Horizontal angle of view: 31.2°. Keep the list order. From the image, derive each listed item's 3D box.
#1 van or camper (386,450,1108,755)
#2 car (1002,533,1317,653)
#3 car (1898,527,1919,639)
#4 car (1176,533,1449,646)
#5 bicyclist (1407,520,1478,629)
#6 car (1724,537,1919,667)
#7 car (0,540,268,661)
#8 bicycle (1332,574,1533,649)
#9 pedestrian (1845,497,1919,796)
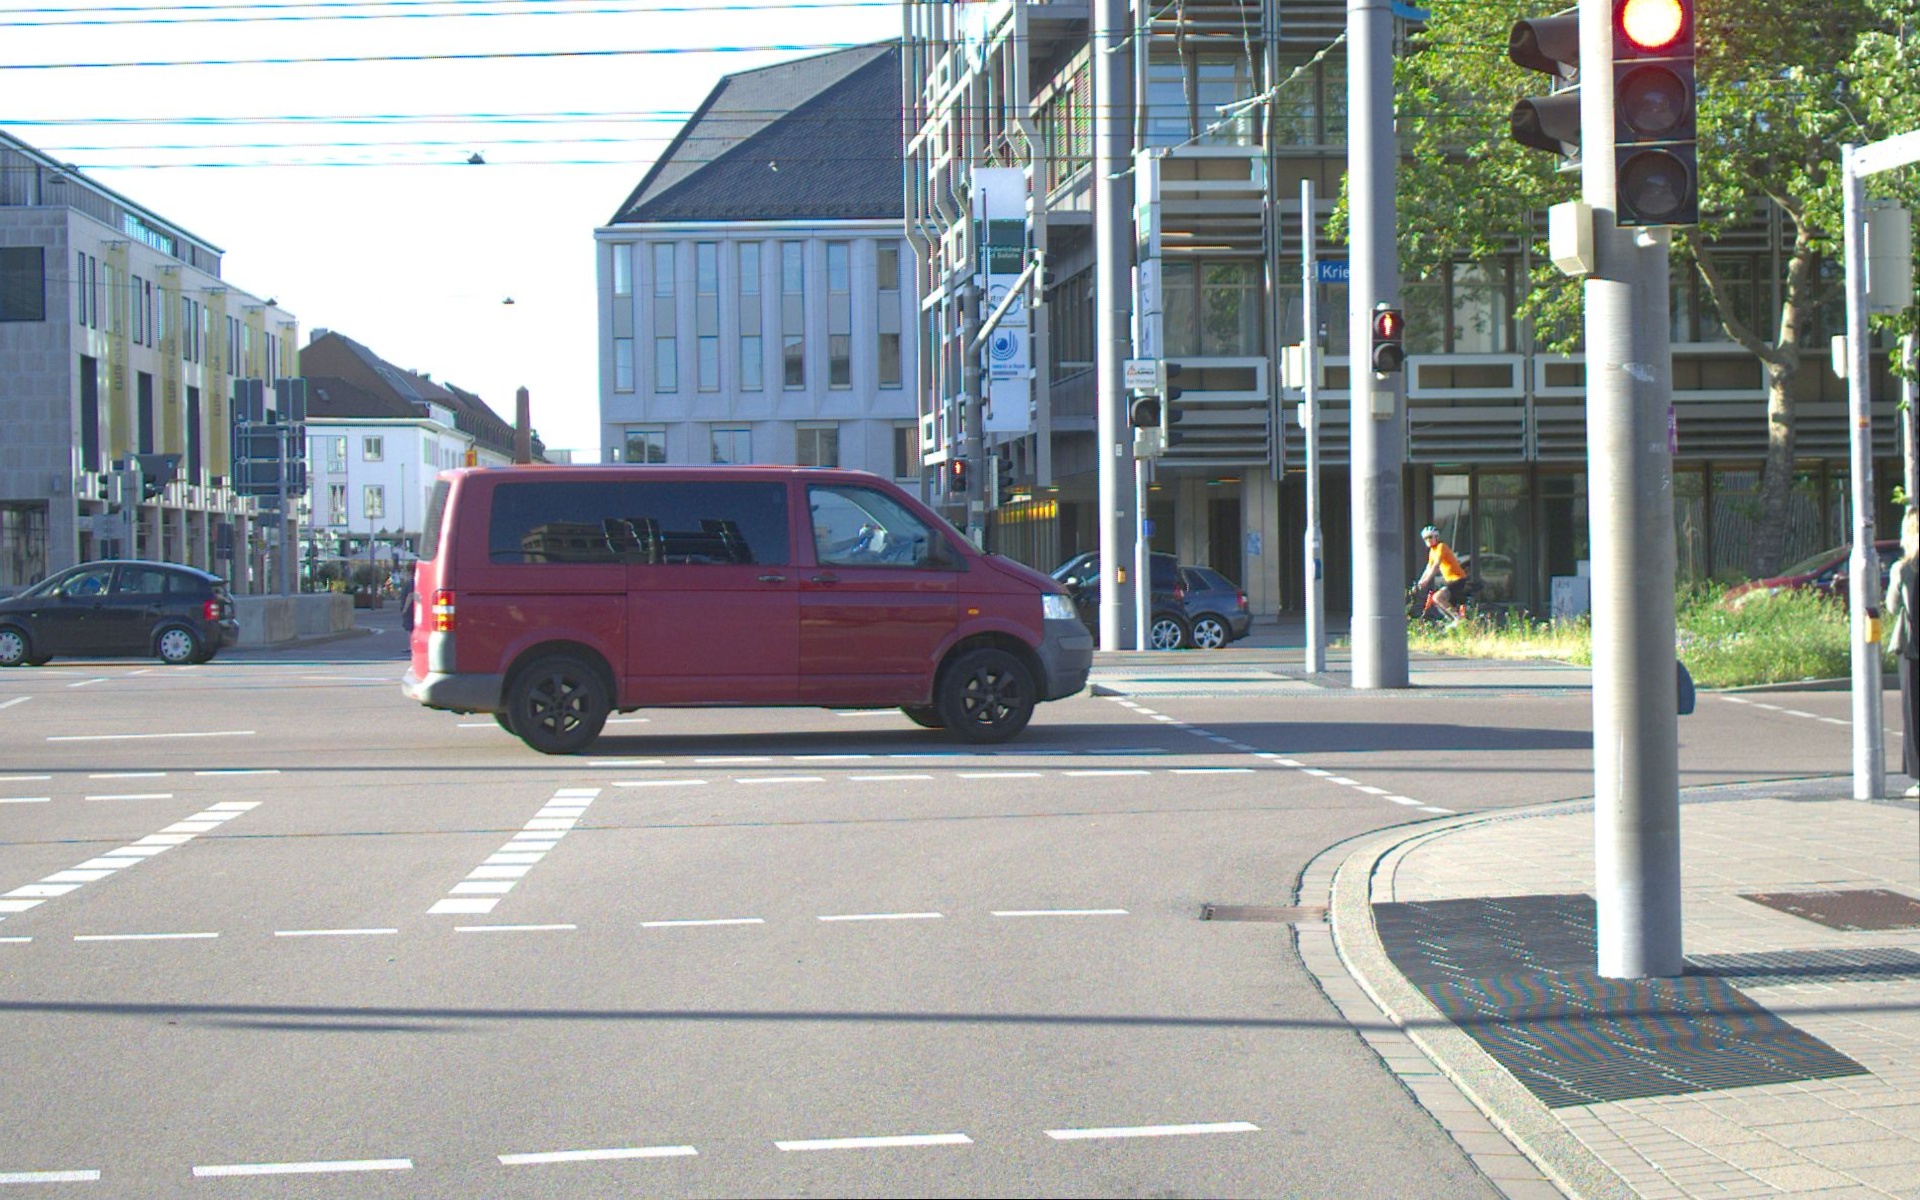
[{"bbox_3d":[-1.557,-0.024,24.430,4.825,2.007,2.008,-1,1,-13],"label":"van or camper"},{"bbox_3d":[2.893,-0.120,50.451,4.403,1.678,1.826,-1,1,-3],"label":"car"},{"bbox_3d":[16.758,-0.284,51.585,4.844,1.678,1.826,-1,1,-3],"label":"car"},{"bbox_3d":[5.465,-0.174,53.608,3.986,1.678,1.826,-1,1,-3],"label":"car"},{"bbox_3d":[6.613,-0.355,47.133,0.822,1.469,0.652,-1,1,-4],"label":"bicyclist"},{"bbox_3d":[12.728,-0.003,46.486,4.287,1.678,1.826,-1,1,-11],"label":"car"},{"bbox_3d":[-12.193,0.000,49.797,3.986,1.678,1.761,-1,1,-1],"label":"car"},{"bbox_3d":[6.458,0.154,47.123,2.568,0.972,1.047,-1,1,-3],"label":"bicycle"},{"bbox_3d":[5.391,0.237,18.941,0.765,1.608,0.874,-1,1,-2],"label":"pedestrian"}]
